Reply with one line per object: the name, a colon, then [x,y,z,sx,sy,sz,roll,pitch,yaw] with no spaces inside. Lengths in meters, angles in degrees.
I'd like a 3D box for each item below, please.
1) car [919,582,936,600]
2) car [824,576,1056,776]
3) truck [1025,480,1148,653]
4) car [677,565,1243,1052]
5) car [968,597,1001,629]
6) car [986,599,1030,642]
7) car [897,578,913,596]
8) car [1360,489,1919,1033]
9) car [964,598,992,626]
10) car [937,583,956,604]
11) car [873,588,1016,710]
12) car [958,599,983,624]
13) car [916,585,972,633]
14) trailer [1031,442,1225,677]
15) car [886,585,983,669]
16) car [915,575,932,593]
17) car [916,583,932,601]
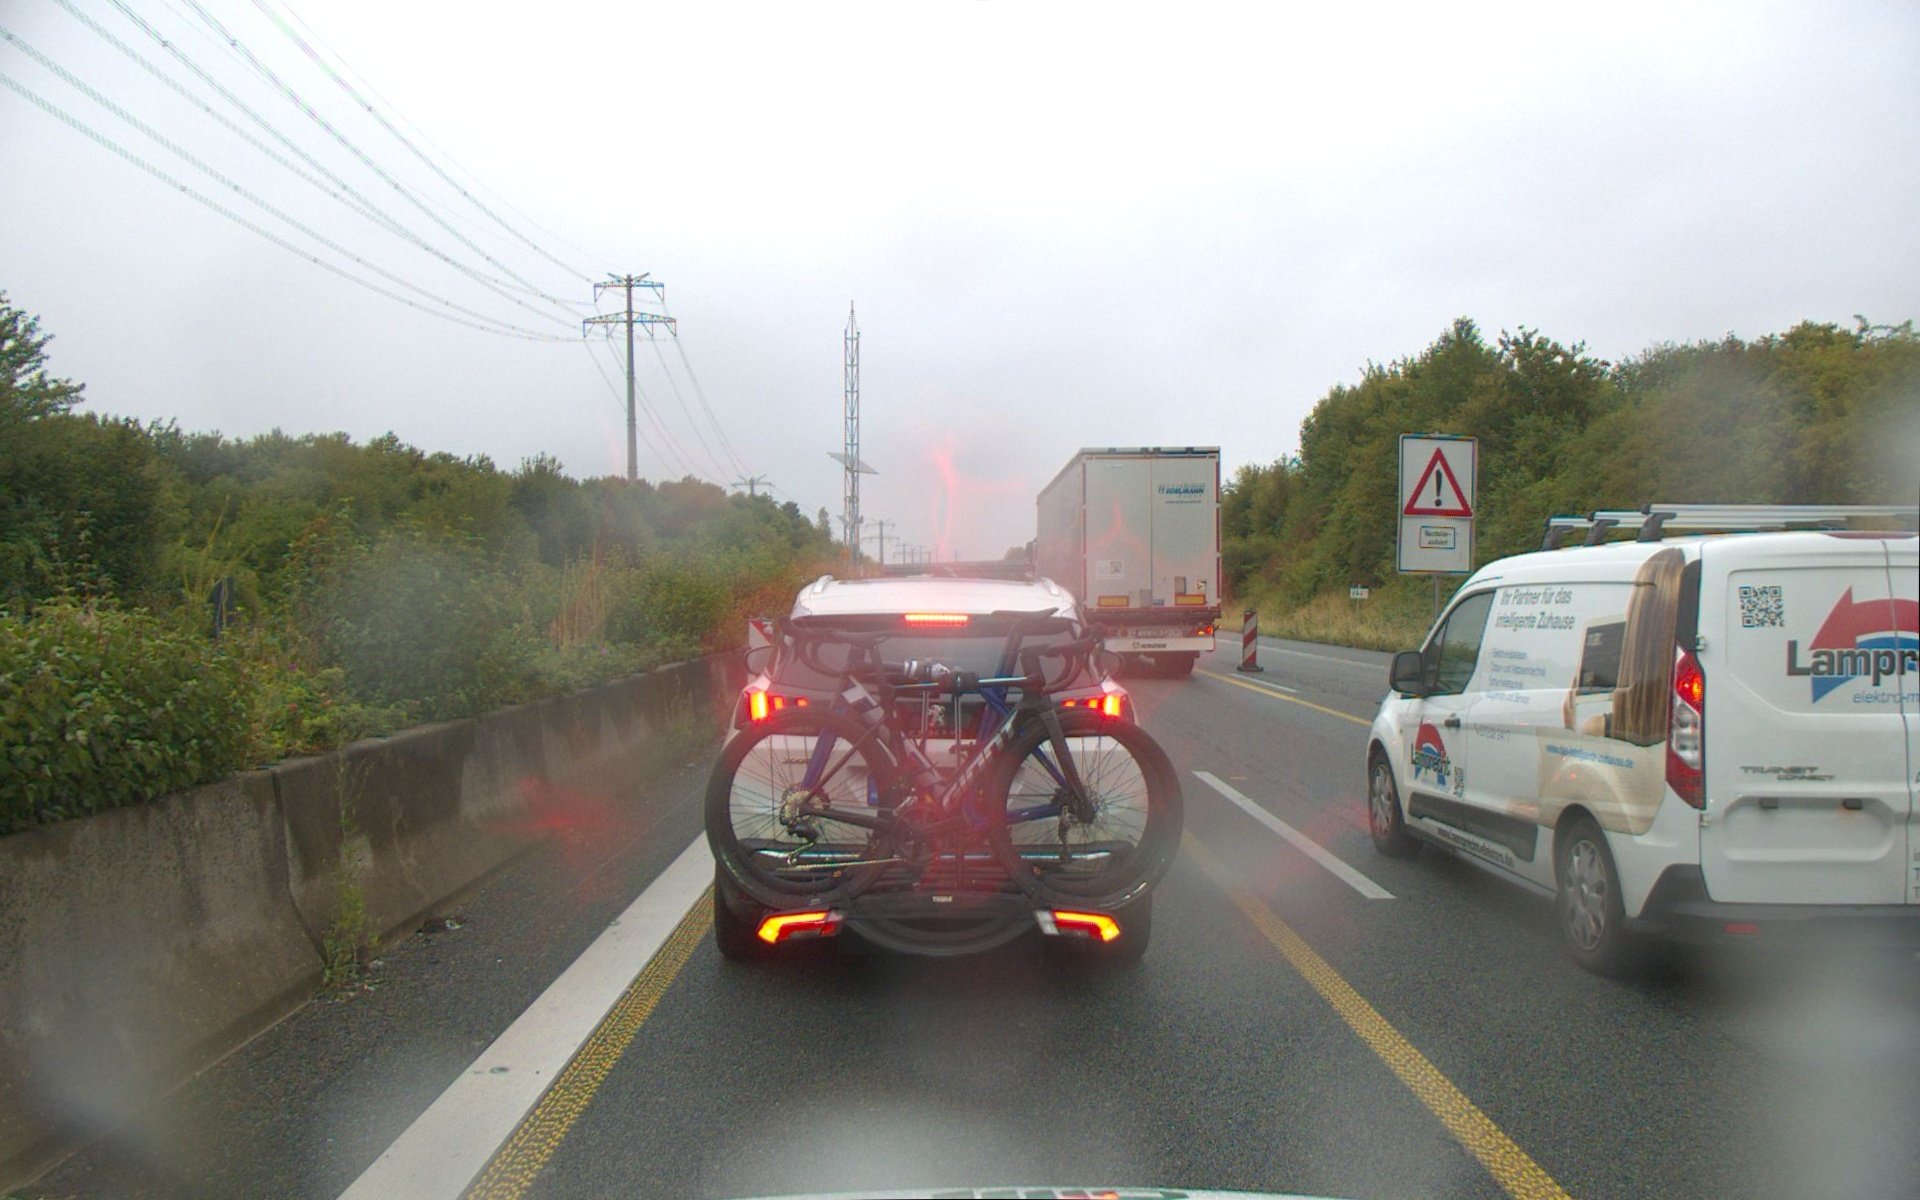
car: [-3.555,-0.977,183.088,1.892,1.944,4.000,0,1,-1]
car: [-0.184,0.589,14.987,1.812,1.557,3.999,0,0,-1]
truck: [3.177,-0.828,43.072,2.606,4.148,6.538,0,0,-1]
car: [-0.031,0.661,7.700,1.812,1.557,4.768,0,0,-1]
car: [1.656,0.854,112.171,2.104,2.008,4.000,0,1,-1]
car: [2.391,1.008,83.224,2.067,2.008,4.000,0,1,-1]
car: [-7.647,-1.816,229.438,2.212,2.467,4.000,0,1,-1]
car: [3.436,0.547,8.039,1.792,1.871,4.654,0,0,-1]
car: [1.367,0.929,127.152,2.104,2.008,4.000,0,1,-1]
car: [-1.355,-0.674,162.782,1.892,2.008,4.000,0,1,-1]
car: [-0.225,0.621,23.143,1.812,1.557,3.999,0,0,-1]
car: [0.877,0.980,140.906,2.104,2.008,4.000,0,1,-1]
car: [-0.546,0.289,55.710,1.812,1.557,3.999,0,0,-1]
trailer: [3.276,-0.746,36.092,2.638,4.148,13.631,0,0,-1]
car: [-0.501,0.497,32.873,1.812,1.557,3.999,0,0,-1]
car: [-4.328,-1.905,195.831,1.892,2.008,4.000,0,1,-1]
car: [-4.137,-0.956,190.242,1.892,2.008,4.000,0,1,-1]
